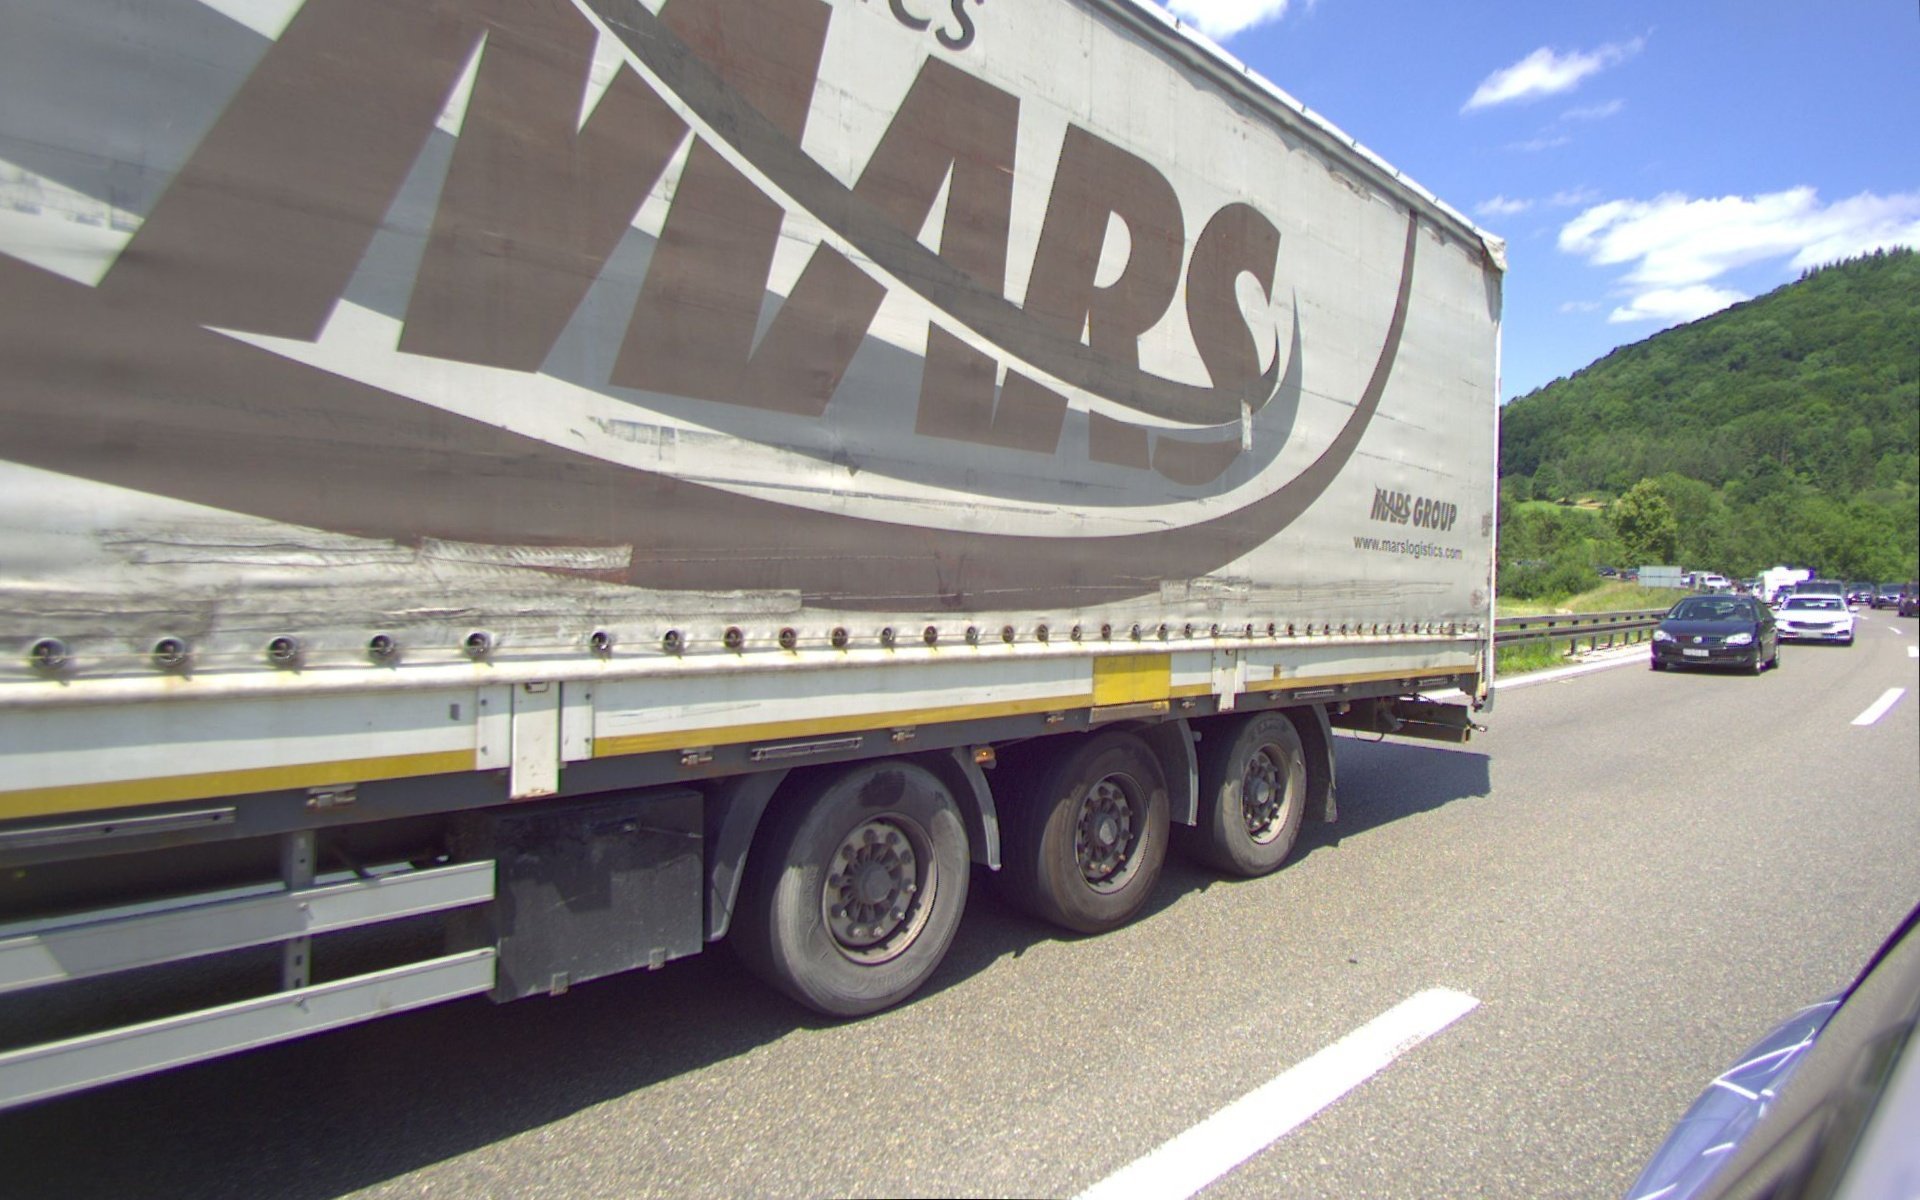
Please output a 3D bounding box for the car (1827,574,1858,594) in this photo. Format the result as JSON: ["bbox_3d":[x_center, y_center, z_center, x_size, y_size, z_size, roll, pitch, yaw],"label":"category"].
[{"bbox_3d":[75.621,-1.336,86.746,1.521,1.658,3.377,-2,-1,34],"label":"car"}]

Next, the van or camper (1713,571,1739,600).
[{"bbox_3d":[85.581,-1.632,113.087,1.896,3.065,4.819,1,1,32],"label":"van or camper"}]

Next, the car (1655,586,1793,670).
[{"bbox_3d":[14.752,0.464,19.479,1.692,1.440,3.777,0,1,44],"label":"car"}]

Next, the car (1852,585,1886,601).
[{"bbox_3d":[65.516,-0.520,72.968,1.483,1.123,3.173,0,1,36],"label":"car"}]

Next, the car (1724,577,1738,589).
[{"bbox_3d":[95.921,-2.108,125.941,1.238,1.497,2.923,-2,-1,35],"label":"car"}]

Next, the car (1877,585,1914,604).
[{"bbox_3d":[58.117,-0.336,62.912,1.484,1.123,3.169,0,1,39],"label":"car"}]

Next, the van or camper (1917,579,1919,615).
[{"bbox_3d":[49.998,-0.151,51.405,1.810,1.890,3.561,0,1,40],"label":"van or camper"}]

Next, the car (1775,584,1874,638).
[{"bbox_3d":[25.345,0.269,29.640,1.904,1.448,3.662,2,2,45],"label":"car"}]

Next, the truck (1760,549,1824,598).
[{"bbox_3d":[57.668,-1.756,70.264,2.585,3.147,6.776,-2,-1,33],"label":"truck"}]

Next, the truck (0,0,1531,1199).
[{"bbox_3d":[-1.733,-0.734,3.771,13.509,4.118,2.729,-1,1,-43],"label":"truck"}]

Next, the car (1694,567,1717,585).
[{"bbox_3d":[89.495,-2.891,121.561,1.986,2.039,3.952,0,1,34],"label":"car"}]

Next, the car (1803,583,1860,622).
[{"bbox_3d":[33.674,0.067,39.072,1.485,1.400,3.680,4,3,43],"label":"car"}]

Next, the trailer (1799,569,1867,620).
[{"bbox_3d":[36.118,-0.236,41.945,1.991,1.994,3.942,2,1,40],"label":"trailer"}]

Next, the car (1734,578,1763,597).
[{"bbox_3d":[67.240,-1.043,86.309,1.688,1.552,3.634,-2,-1,35],"label":"car"}]
